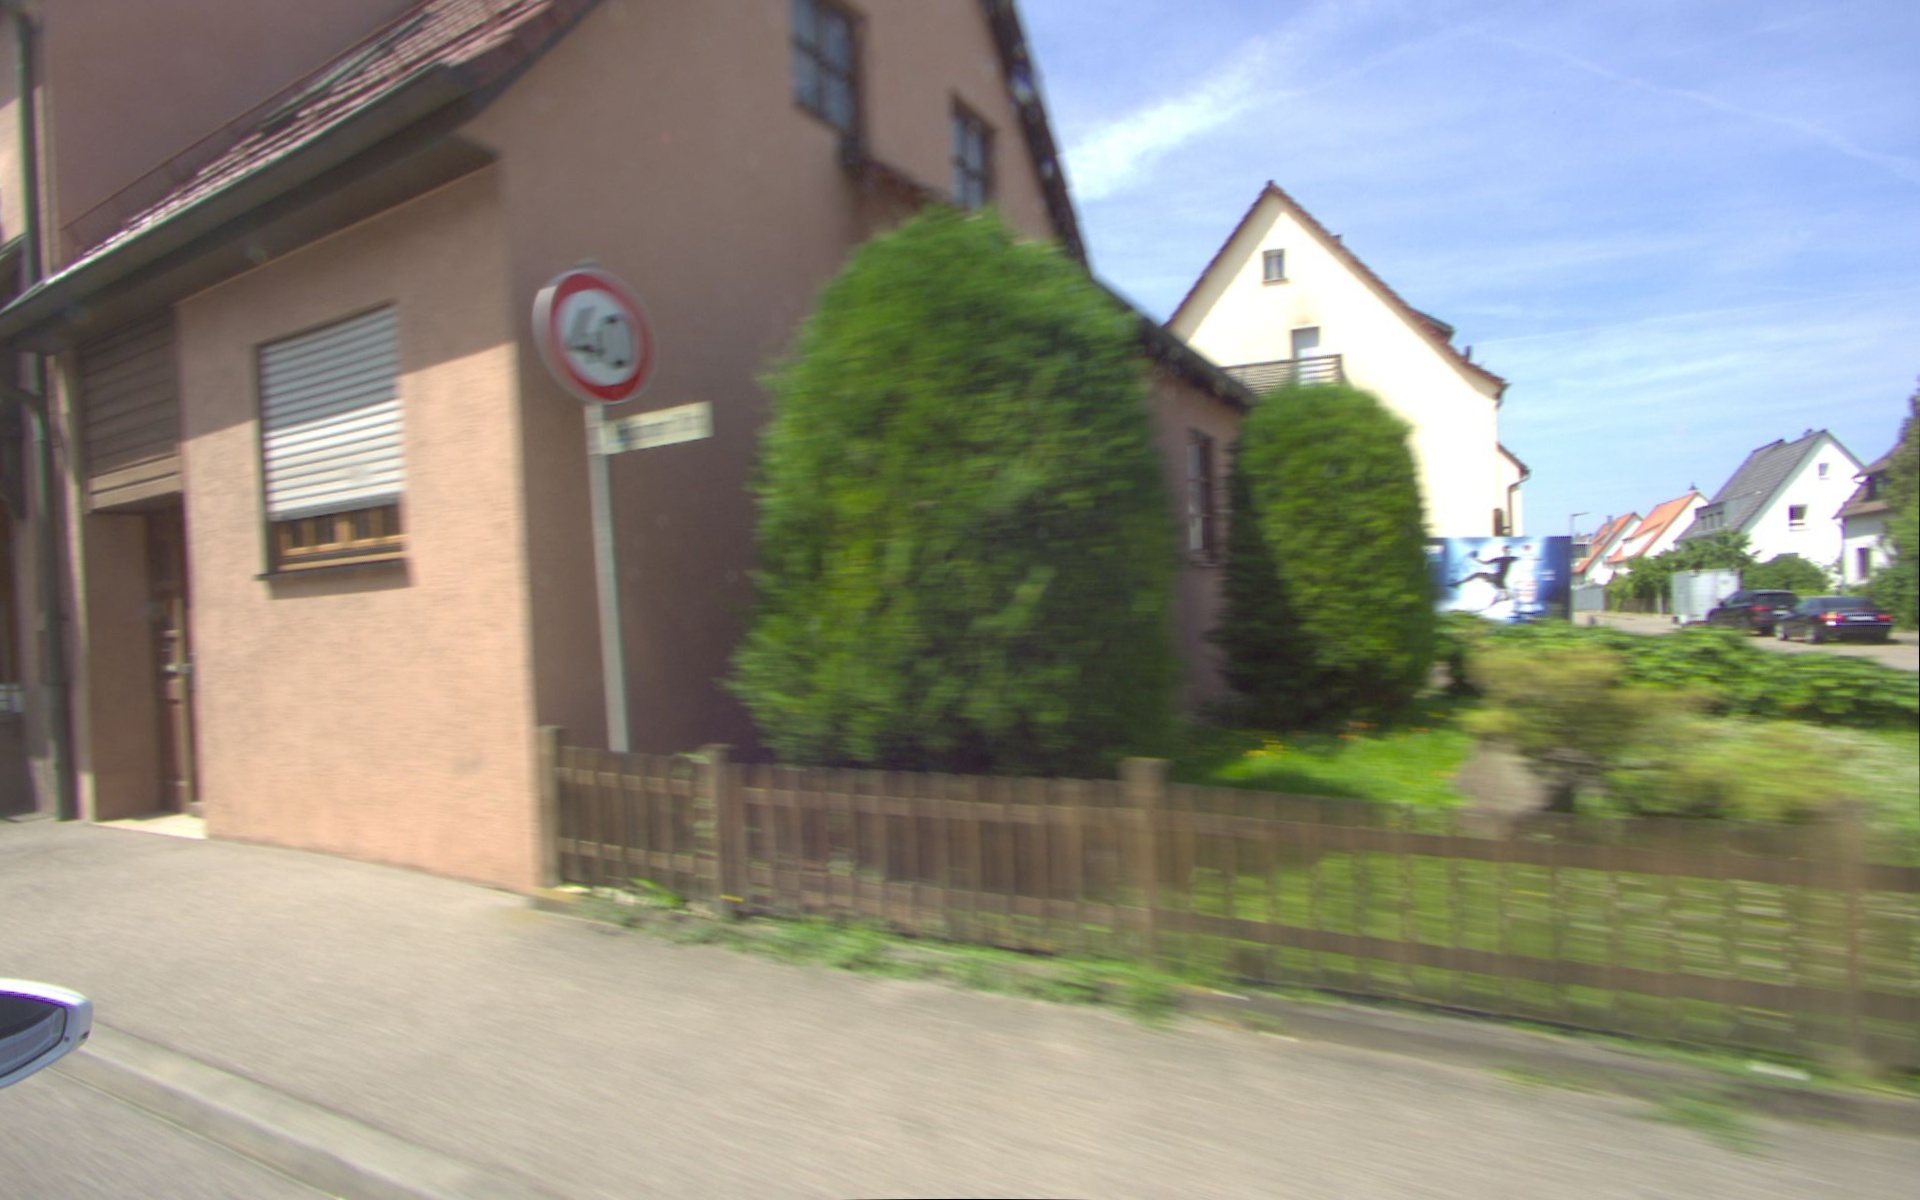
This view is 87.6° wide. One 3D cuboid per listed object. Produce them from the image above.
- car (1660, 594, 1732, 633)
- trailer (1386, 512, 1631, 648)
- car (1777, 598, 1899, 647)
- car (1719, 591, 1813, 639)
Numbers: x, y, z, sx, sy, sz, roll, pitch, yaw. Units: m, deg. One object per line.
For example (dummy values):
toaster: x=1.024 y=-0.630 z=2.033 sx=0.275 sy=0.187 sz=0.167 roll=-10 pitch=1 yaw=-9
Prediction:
car: x=31.620 y=0.581 z=43.108 sx=1.620 sy=1.623 sz=3.437 roll=-1 pitch=-1 yaw=22
trailer: x=12.506 y=-0.387 z=23.213 sx=4.684 sy=2.850 sz=1.995 roll=-1 pitch=0 yaw=20
car: x=25.652 y=0.630 z=29.389 sx=1.620 sy=1.343 sz=3.437 roll=-1 pitch=-1 yaw=22
car: x=28.454 y=0.530 z=35.448 sx=1.620 sy=1.623 sz=3.437 roll=-1 pitch=-1 yaw=22
